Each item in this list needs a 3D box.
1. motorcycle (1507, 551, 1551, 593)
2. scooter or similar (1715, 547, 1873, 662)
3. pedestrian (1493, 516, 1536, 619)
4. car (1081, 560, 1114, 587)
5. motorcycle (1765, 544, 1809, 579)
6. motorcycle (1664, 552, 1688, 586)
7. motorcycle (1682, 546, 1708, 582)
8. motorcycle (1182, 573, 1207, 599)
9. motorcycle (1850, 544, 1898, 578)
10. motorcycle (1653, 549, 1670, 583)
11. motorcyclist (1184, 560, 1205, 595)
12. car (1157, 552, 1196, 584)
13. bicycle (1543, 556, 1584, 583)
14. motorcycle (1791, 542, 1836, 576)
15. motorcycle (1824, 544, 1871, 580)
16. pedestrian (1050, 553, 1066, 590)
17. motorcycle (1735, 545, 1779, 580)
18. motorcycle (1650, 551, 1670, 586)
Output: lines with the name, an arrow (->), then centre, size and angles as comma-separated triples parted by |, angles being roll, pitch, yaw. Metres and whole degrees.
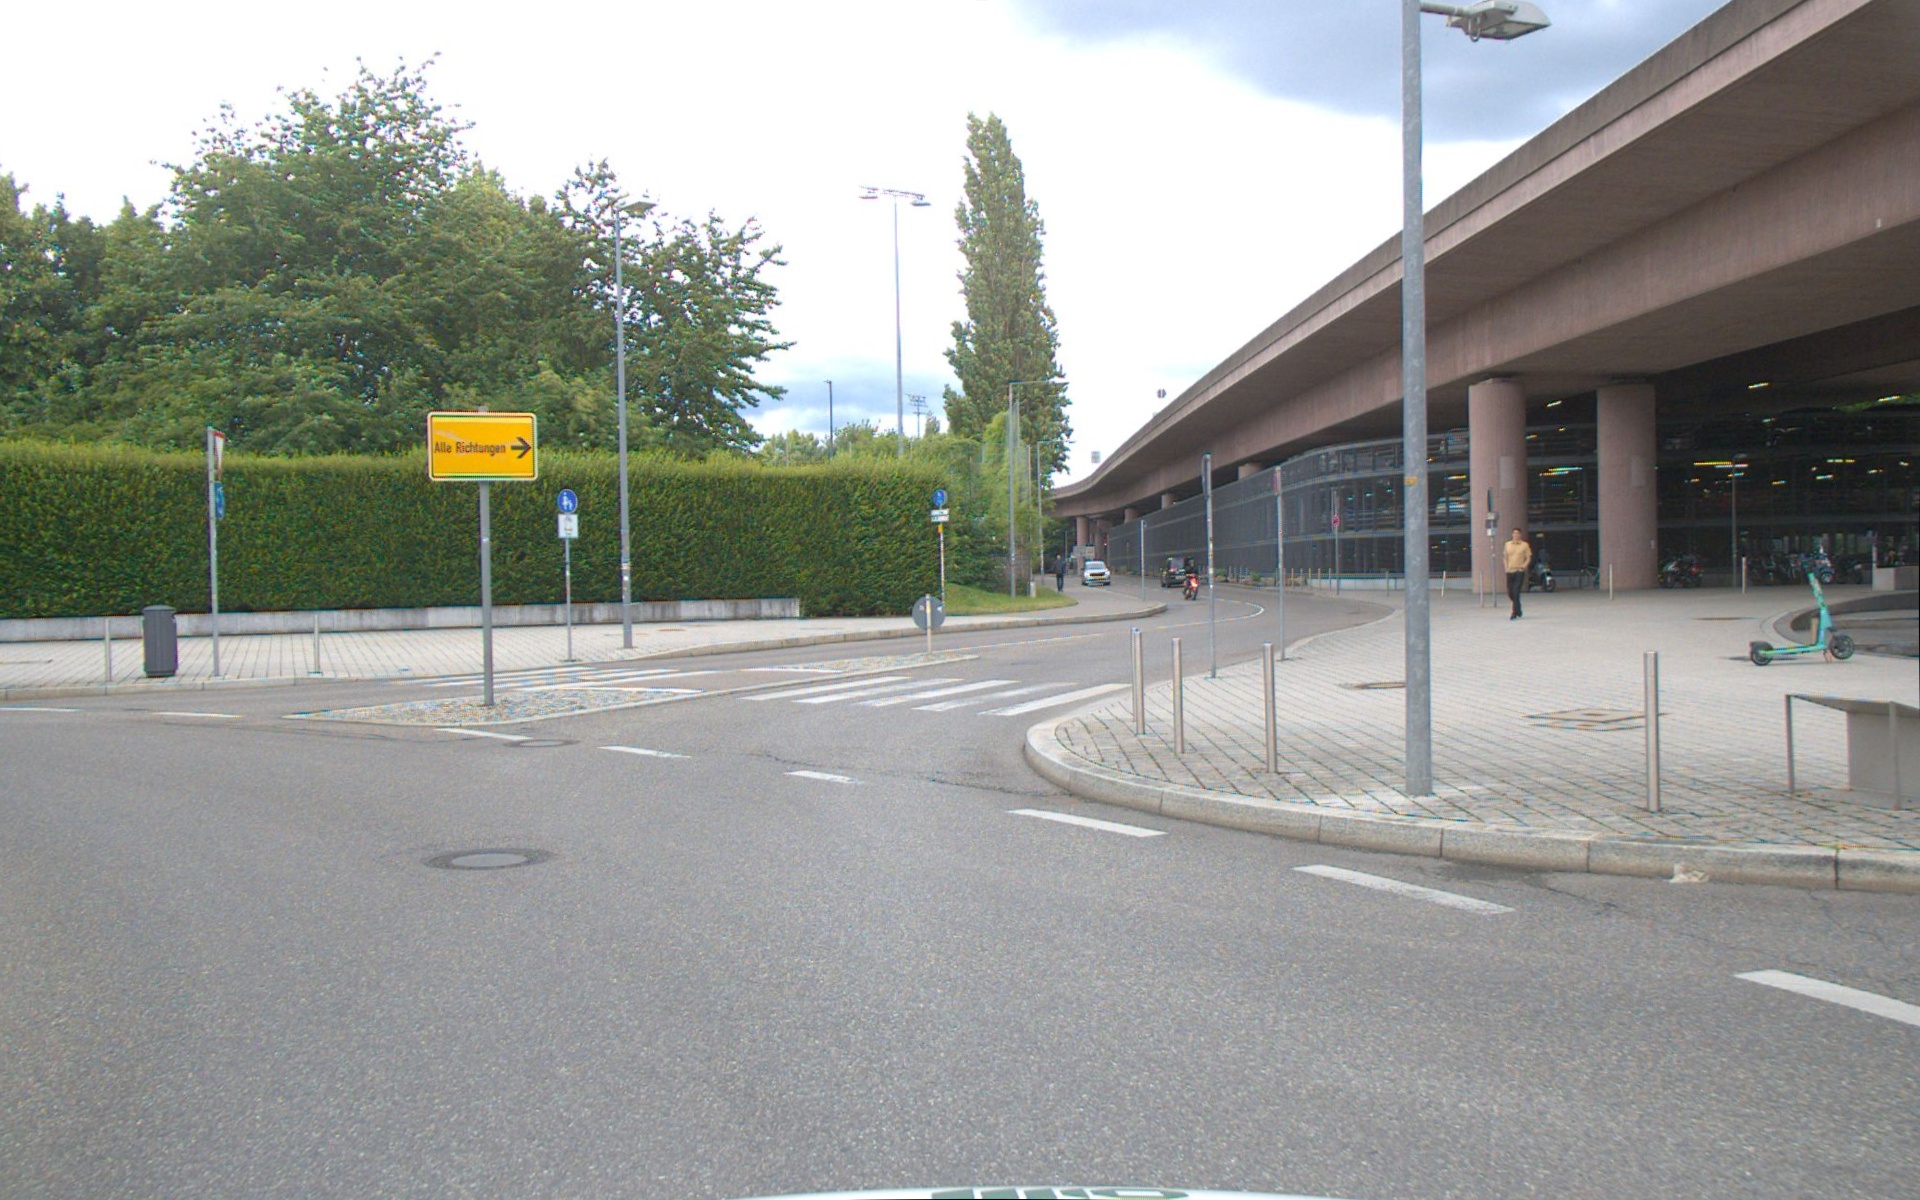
motorcycle -> 20.675, -1.044, 60.167 | 0.631, 1.480, 1.756 | -2, 2, -15
scooter or similar -> 9.998, 0.054, 19.872 | 1.609, 1.318, 0.519 | -1, 2, 16
pedestrian -> 11.278, -0.679, 33.641 | 0.766, 2.048, 1.040 | -1, 2, 19
car -> 9.670, -1.876, 116.399 | 1.826, 1.712, 4.405 | -2, 2, -1
motorcycle -> 30.878, -1.448, 61.786 | 0.658, 1.241, 2.080 | -2, 2, 2
motorcycle -> 25.449, -1.090, 58.782 | 0.512, 1.191, 1.145 | 0, 0, 37
motorcycle -> 27.512, -1.353, 61.951 | 0.813, 1.241, 2.079 | -1, 2, 22
motorcycle -> 9.946, -0.602, 70.130 | 0.731, 1.040, 1.956 | -2, 2, -1
motorcycle -> 34.188, -1.473, 61.899 | 0.658, 1.241, 2.080 | -2, 2, 2
motorcycle -> 26.640, -1.284, 62.816 | 0.509, 1.241, 1.151 | -1, 2, 19
motorcyclist -> 9.936, -0.966, 70.126 | 0.746, 1.444, 0.870 | -2, 2, -1
car -> 12.627, -1.910, 96.662 | 1.801, 1.741, 3.707 | -2, 2, 1
bicycle -> 23.808, -1.198, 65.245 | 1.443, 0.993, 0.451 | -1, 2, 27
motorcycle -> 31.943, -1.540, 61.908 | 0.658, 1.241, 2.080 | -2, 2, 2
motorcycle -> 33.163, -1.424, 61.826 | 0.658, 1.308, 2.080 | -2, 2, 2
pedestrian -> 4.963, -1.447, 83.639 | 0.787, 1.811, 0.921 | -2, 2, 4
motorcycle -> 29.817, -1.420, 61.908 | 0.658, 1.241, 2.080 | -2, 2, 2
motorcycle -> 25.990, -1.169, 61.390 | 0.511, 1.241, 1.148 | -1, 2, 31
